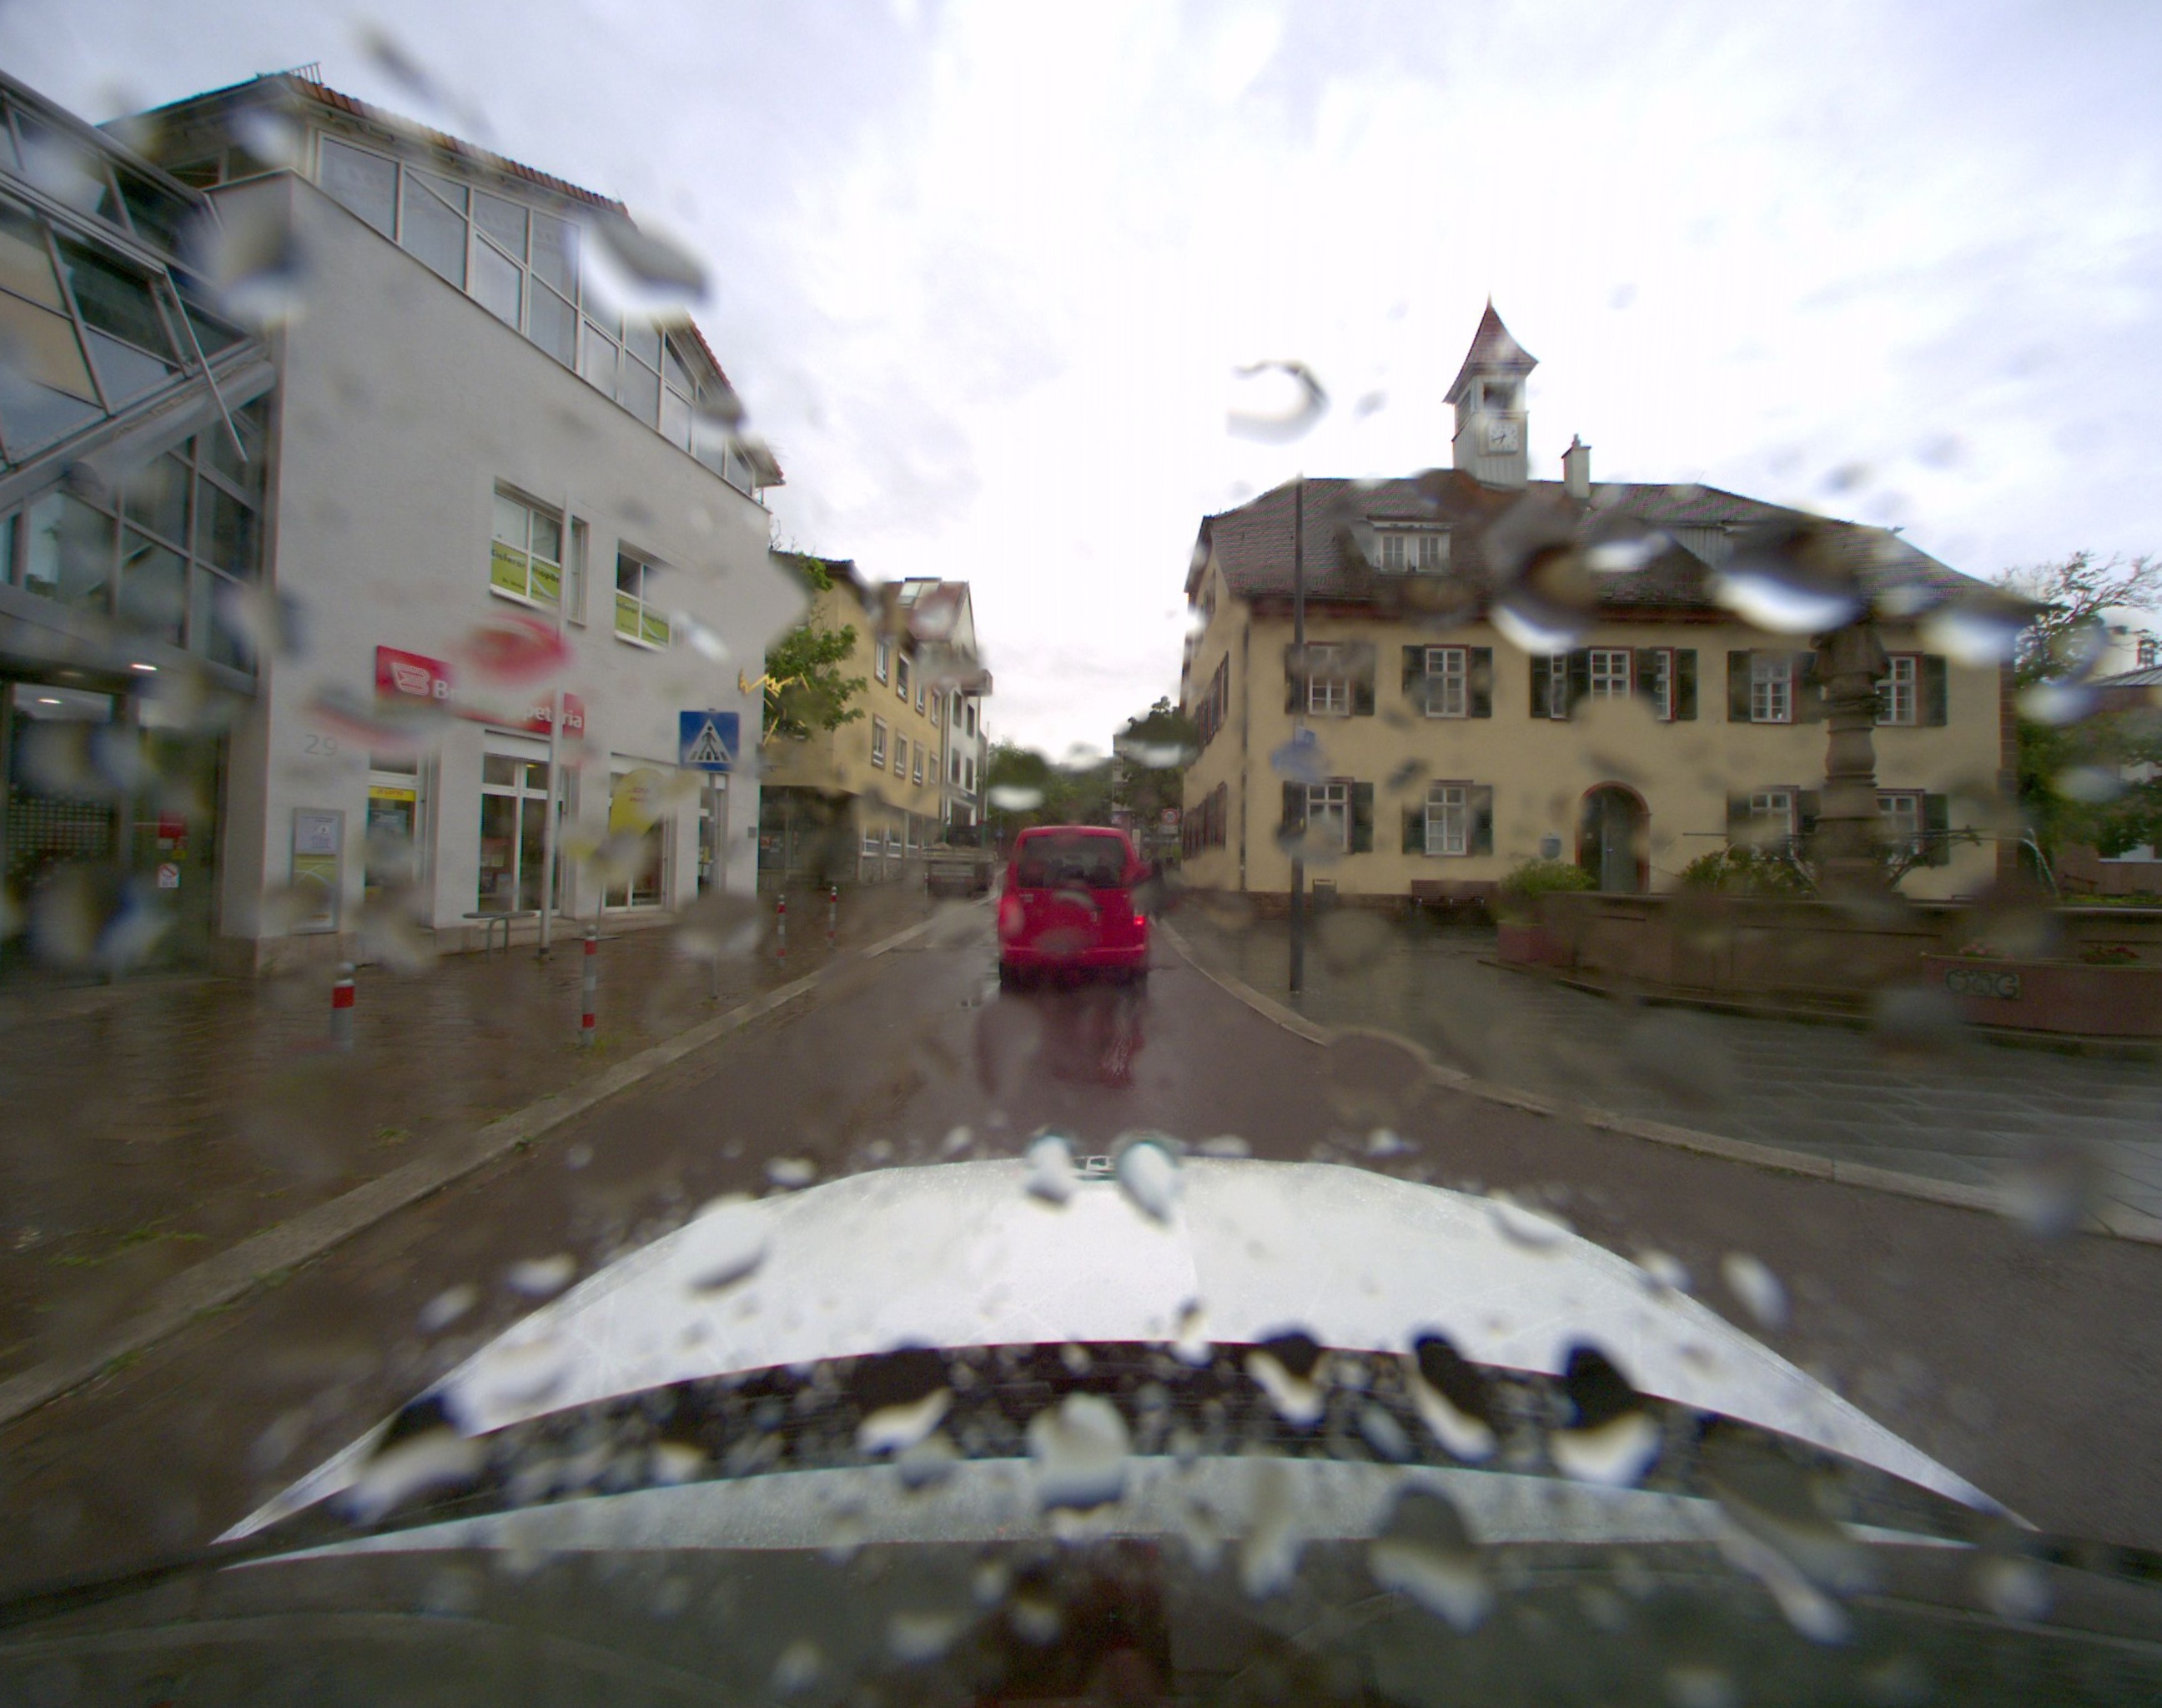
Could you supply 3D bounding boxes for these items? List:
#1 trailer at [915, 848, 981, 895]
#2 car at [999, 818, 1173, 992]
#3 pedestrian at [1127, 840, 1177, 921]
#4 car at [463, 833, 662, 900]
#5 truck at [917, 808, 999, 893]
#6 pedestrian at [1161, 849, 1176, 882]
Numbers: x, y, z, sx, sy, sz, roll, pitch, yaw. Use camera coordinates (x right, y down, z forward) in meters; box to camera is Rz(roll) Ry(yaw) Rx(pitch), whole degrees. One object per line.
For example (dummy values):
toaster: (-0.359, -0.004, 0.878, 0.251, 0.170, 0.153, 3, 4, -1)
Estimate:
trailer: (-4.083, 0.496, 25.406, 1.724, 1.346, 3.156, 0, 1, -4)
car: (-0.033, 0.541, 10.767, 1.858, 1.830, 4.181, 0, 0, -3)
pedestrian: (1.539, 0.552, 17.563, 0.707, 1.693, 0.873, 1, 0, 37)
car: (-12.955, 0.296, 20.460, 3.960, 1.564, 1.972, 0, 0, 12)
truck: (-4.388, -0.164, 30.254, 2.468, 2.795, 6.591, 0, 1, -4)
pedestrian: (4.317, 0.548, 40.368, 0.725, 1.617, 0.694, 0, -1, 3)
